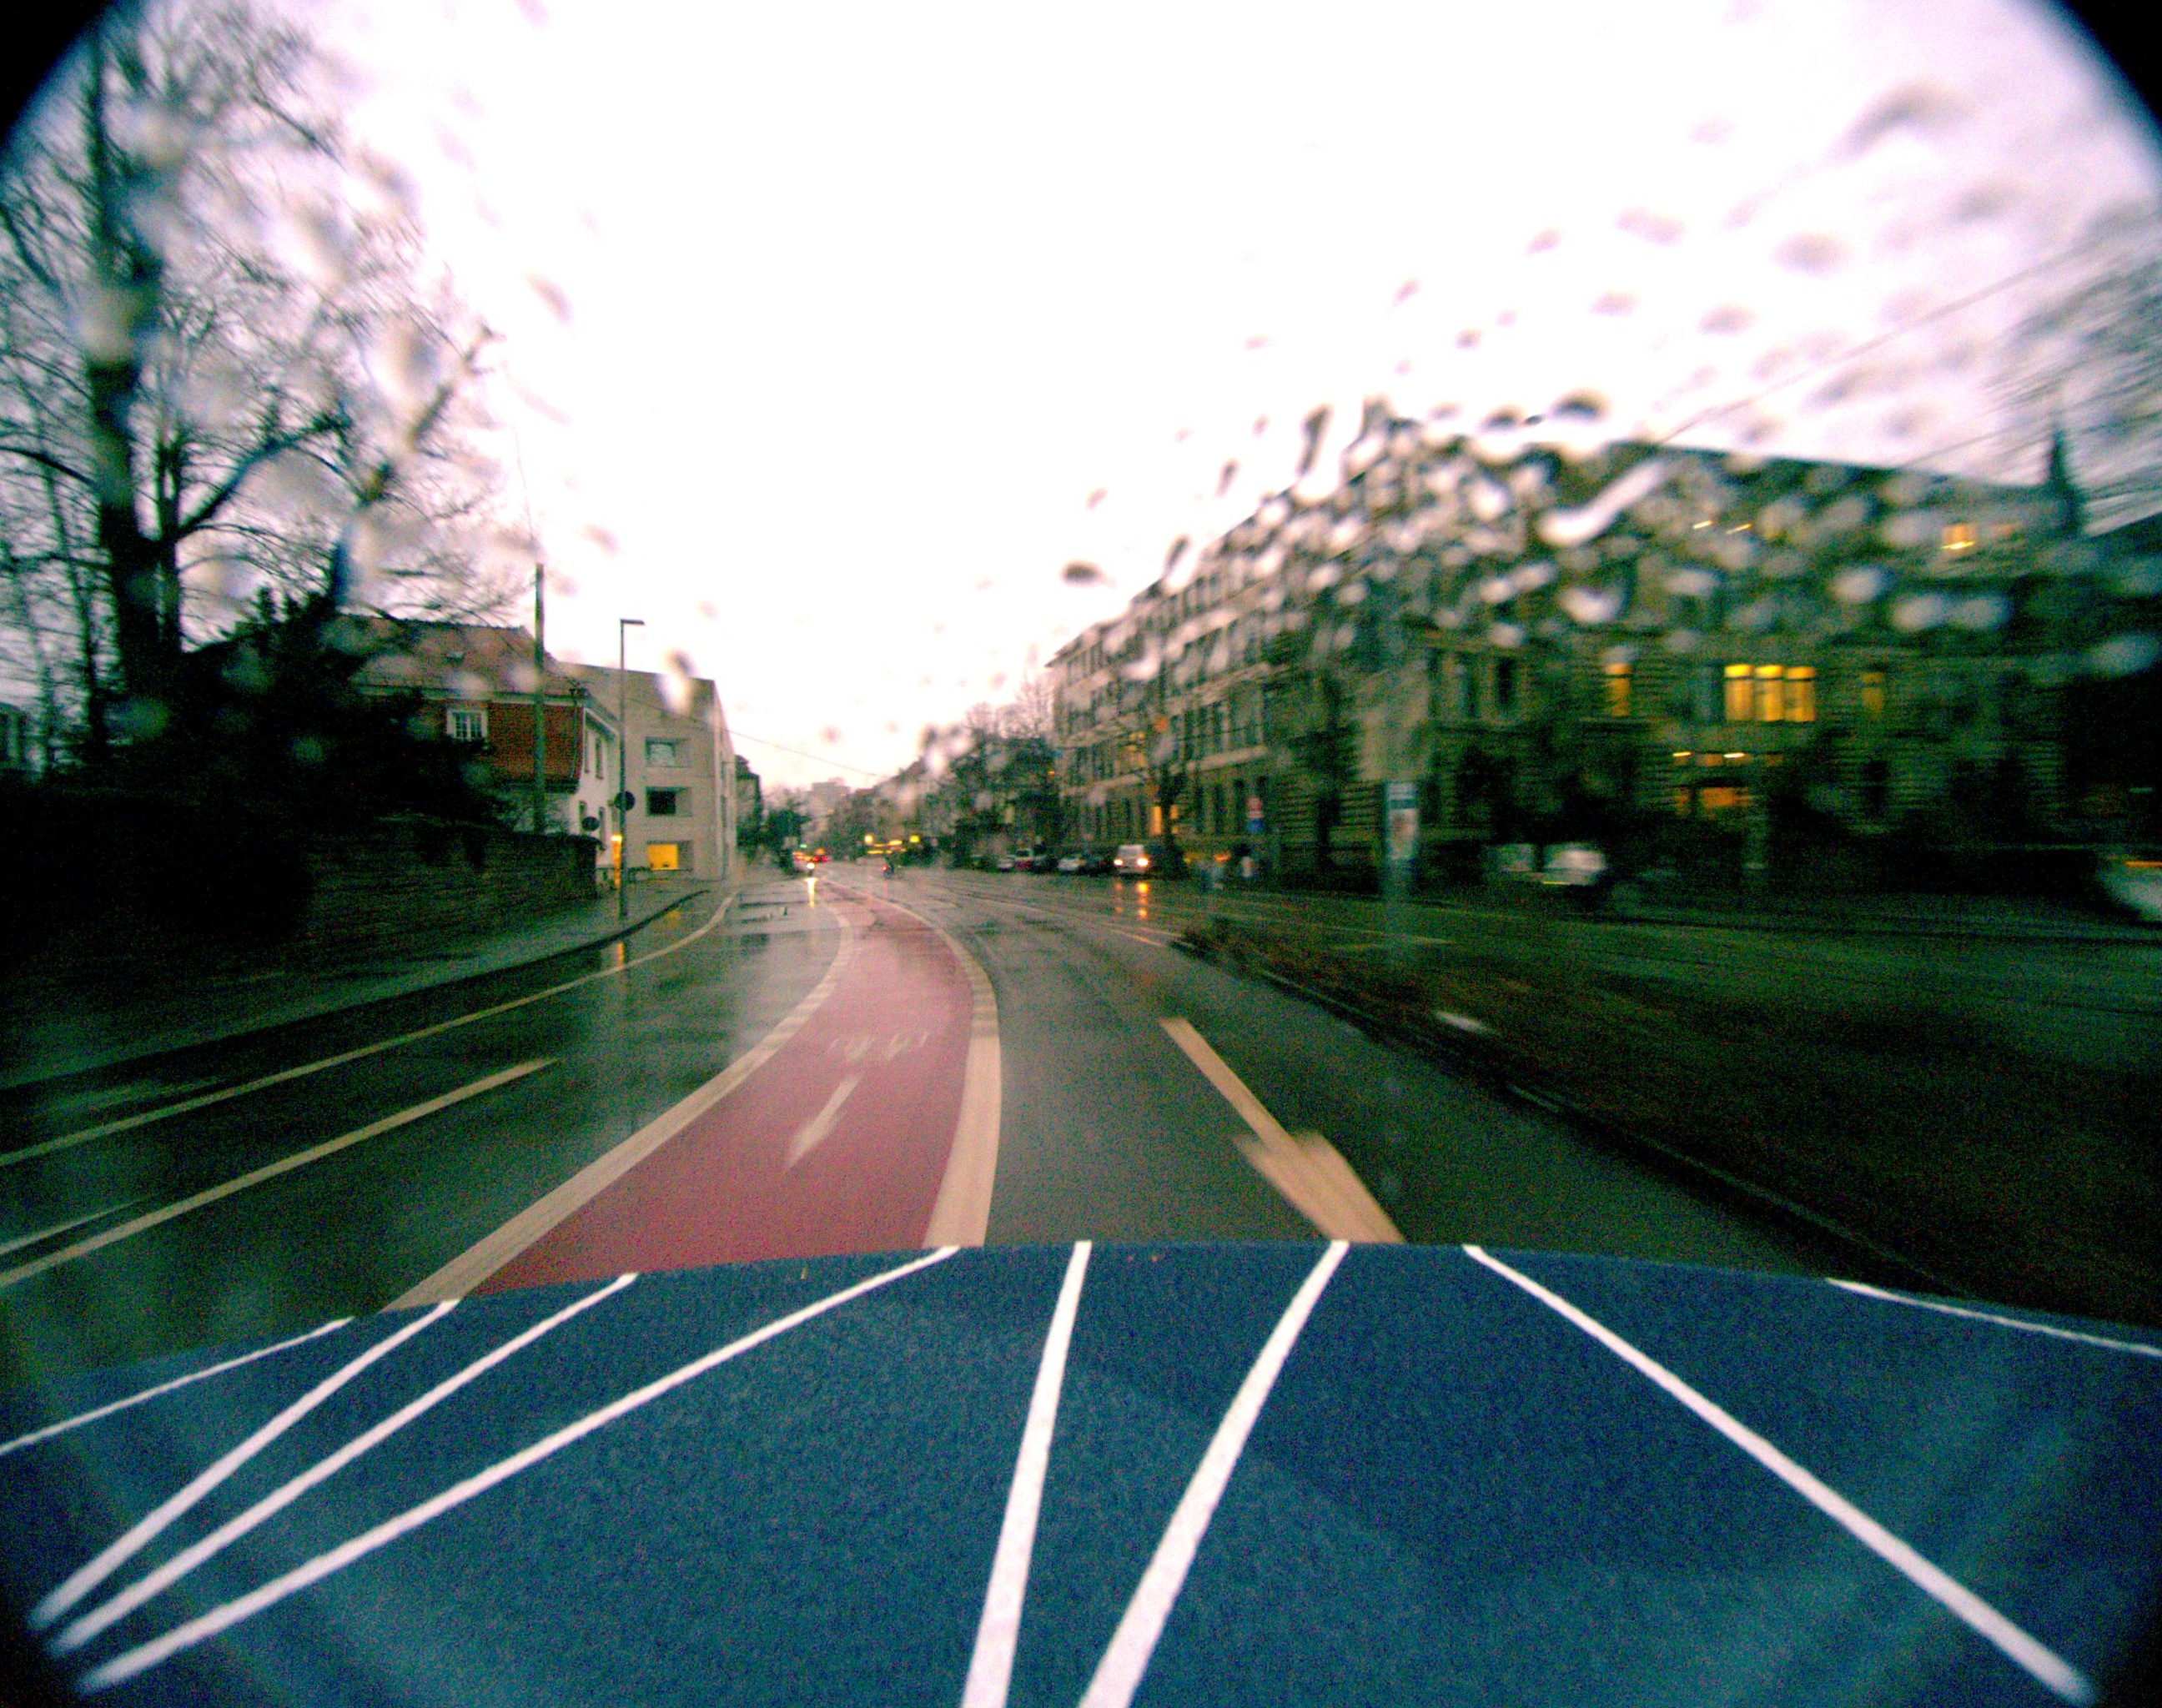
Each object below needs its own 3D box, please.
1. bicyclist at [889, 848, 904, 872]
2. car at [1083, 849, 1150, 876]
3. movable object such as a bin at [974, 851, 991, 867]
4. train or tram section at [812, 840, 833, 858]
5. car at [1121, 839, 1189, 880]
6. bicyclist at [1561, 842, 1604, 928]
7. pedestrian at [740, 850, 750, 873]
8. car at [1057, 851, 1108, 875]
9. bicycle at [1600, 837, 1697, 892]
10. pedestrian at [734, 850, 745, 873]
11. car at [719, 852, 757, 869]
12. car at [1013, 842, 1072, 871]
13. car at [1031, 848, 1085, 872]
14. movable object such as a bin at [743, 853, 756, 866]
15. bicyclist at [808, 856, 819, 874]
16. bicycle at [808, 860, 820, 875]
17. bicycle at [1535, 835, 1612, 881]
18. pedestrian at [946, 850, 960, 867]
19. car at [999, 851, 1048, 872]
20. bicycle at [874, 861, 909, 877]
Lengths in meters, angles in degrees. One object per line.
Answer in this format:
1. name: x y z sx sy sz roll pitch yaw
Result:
1. bicyclist: -12.305 0.387 50.659 0.857 1.586 0.779 -1 1 -17
2. car: 2.310 0.522 48.618 1.795 1.449 4.485 -1 2 42
3. movable object such as a bin: -9.966 0.500 76.890 1.340 1.456 0.988 -2 2 31
4. train or tram section: -62.836 -1.222 184.191 2.890 3.716 27.279 -4 2 -22
5. car: 4.307 0.273 43.223 1.907 2.022 4.811 -2 2 31
6. bicyclist: 10.588 0.644 16.061 0.610 1.758 0.590 -2 2 22
7. pedestrian: -27.208 0.595 61.485 0.659 1.849 0.658 0 1 -20
8. car: 0.119 0.629 53.359 1.633 1.449 3.833 -2 2 35
9. bicycle: 18.388 0.352 24.695 2.423 1.679 0.714 -2 2 29
10. pedestrian: -27.594 0.623 61.356 0.774 1.848 0.717 0 1 -20
11. car: -36.536 0.678 81.027 3.464 1.638 1.728 -4 2 -22
12. car: -3.007 0.208 60.838 1.960 2.042 4.630 -1 2 41
13. car: -1.740 0.434 58.021 1.818 1.531 3.983 -1 2 41
14. movable object such as a bin: -35.471 0.586 81.302 1.262 1.437 1.416 -1 1 -22
15. bicyclist: -21.118 0.851 59.986 0.717 1.335 0.718 -3 2 -15
16. bicycle: -21.104 1.062 60.072 0.724 1.084 2.283 -2 0 -15
17. bicycle: 18.872 0.158 29.177 2.423 1.679 0.714 -2 2 29
18. pedestrian: -13.566 0.448 80.445 0.925 1.693 0.945 -5 3 -44
19. car: -4.961 0.638 66.277 1.770 1.582 4.192 -1 2 39
20. bicycle: -12.660 1.004 50.724 2.124 0.939 0.942 -3 2 -18
